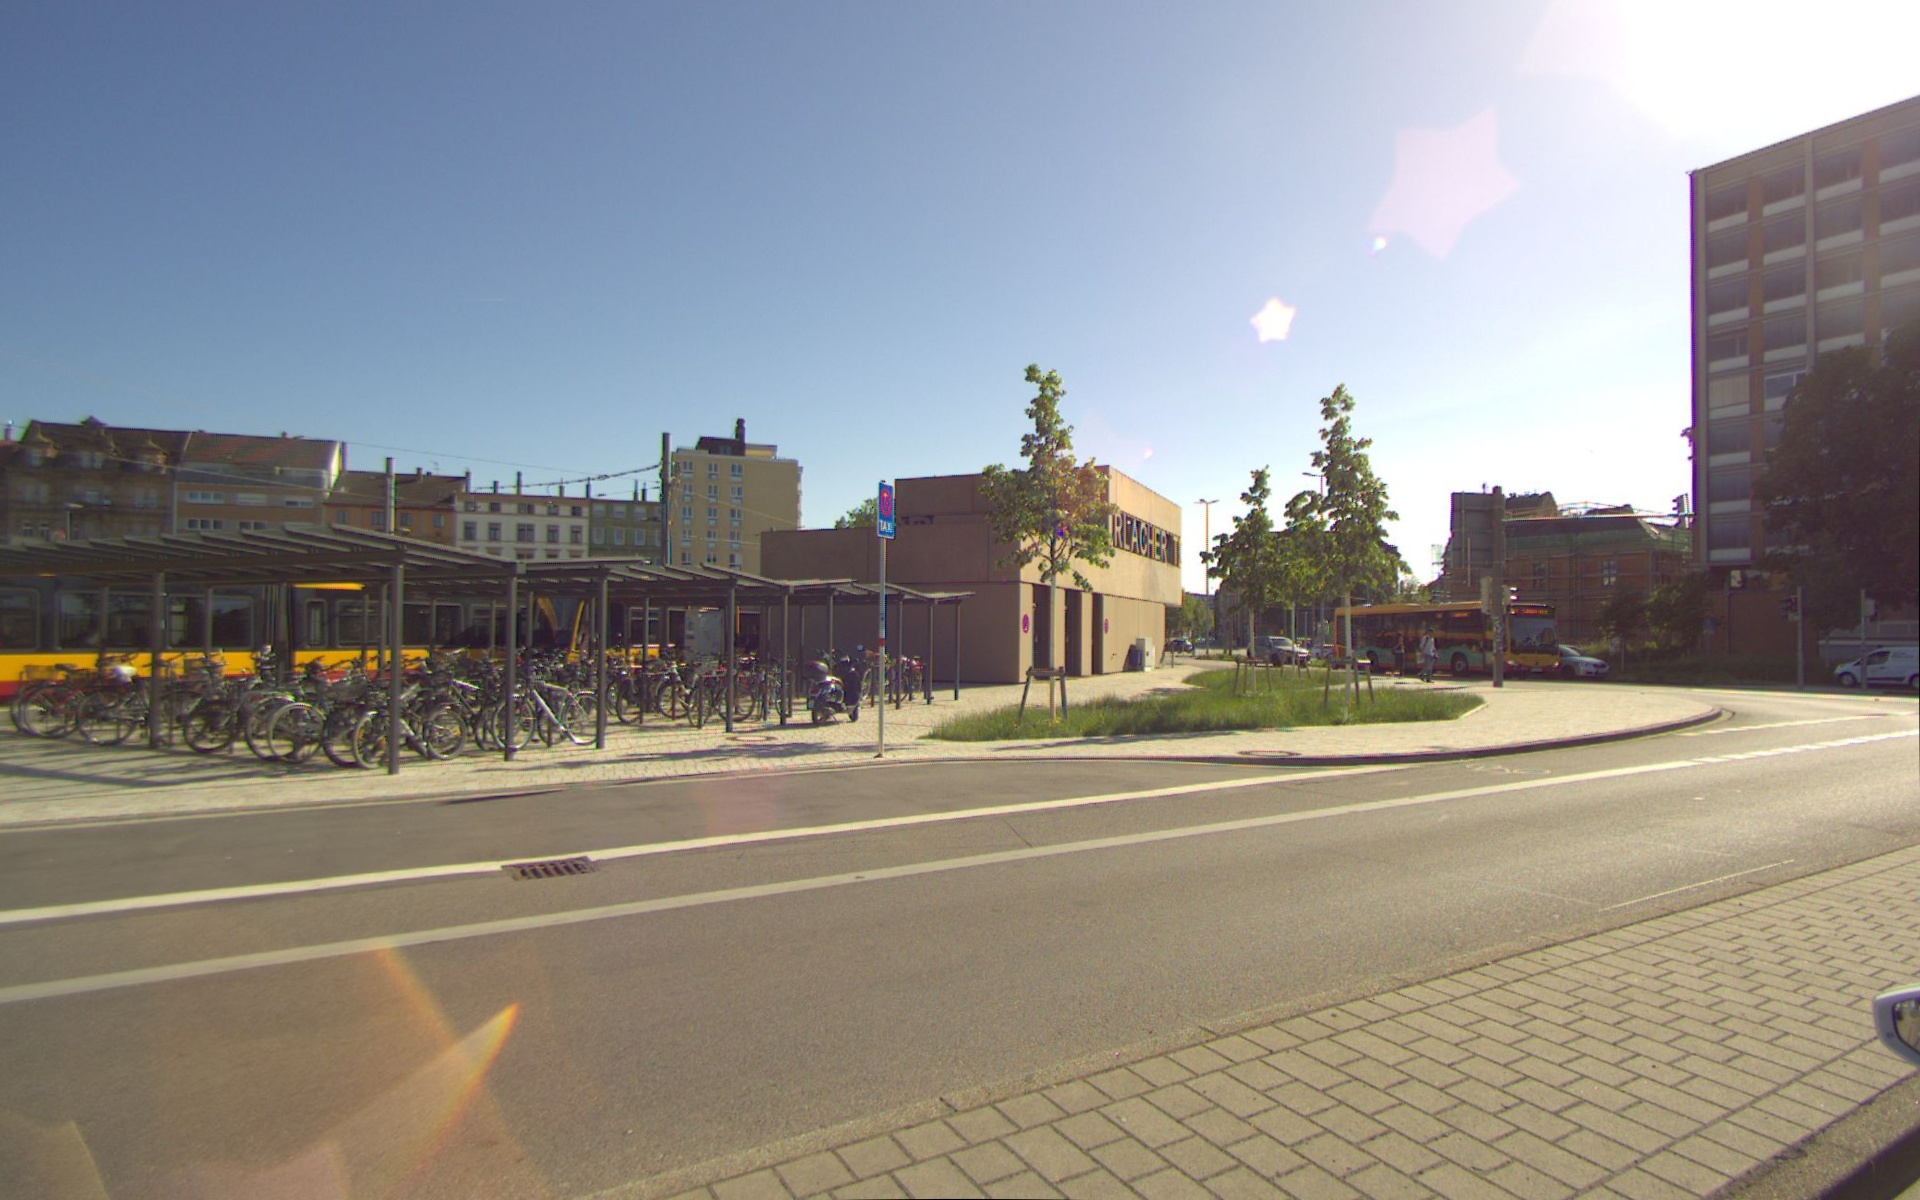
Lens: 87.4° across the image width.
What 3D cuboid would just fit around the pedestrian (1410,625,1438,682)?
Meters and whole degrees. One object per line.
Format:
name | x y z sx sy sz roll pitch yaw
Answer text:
pedestrian | 15.560 1.796 33.702 0.594 1.880 0.680 1 -1 -7

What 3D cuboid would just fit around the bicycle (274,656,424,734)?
bicycle | -8.909 1.353 14.734 0.617 1.021 1.829 0 -2 25

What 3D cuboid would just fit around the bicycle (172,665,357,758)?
bicycle | -8.699 1.360 12.652 0.617 1.021 1.829 0 -2 27

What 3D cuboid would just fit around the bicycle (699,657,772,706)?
bicycle | -5.146 1.851 23.117 0.617 1.021 1.829 0 -2 27

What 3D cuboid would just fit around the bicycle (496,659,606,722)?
bicycle | -7.359 1.602 18.185 0.616 1.021 2.004 0 -2 22

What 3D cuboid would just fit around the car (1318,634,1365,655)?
car | 29.371 3.394 77.464 1.962 1.538 3.817 1 -2 -4

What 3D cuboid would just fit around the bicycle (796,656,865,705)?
bicycle | -2.894 1.788 22.695 0.492 1.010 1.888 0 -2 30

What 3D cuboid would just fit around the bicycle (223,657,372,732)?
bicycle | -10.023 1.402 15.281 0.617 1.021 1.829 0 -2 25

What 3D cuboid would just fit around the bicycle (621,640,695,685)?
bicycle | -7.283 1.498 24.329 0.617 1.021 1.829 0 -2 27

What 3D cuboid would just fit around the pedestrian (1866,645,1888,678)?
pedestrian | 44.856 2.995 49.136 0.545 1.591 0.534 1 -1 -5

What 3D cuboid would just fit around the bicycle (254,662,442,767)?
bicycle | -7.156 1.302 11.849 0.617 1.080 1.829 0 -2 27

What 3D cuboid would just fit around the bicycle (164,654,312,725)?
bicycle | -11.377 1.381 15.901 0.617 1.021 1.829 0 -2 25

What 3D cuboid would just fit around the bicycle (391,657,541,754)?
bicycle | -6.630 1.382 13.591 0.617 1.163 1.829 0 -2 25

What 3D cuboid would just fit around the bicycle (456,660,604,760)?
bicycle | -5.587 1.389 13.178 0.617 1.173 1.829 0 -2 25

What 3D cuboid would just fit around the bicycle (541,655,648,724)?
bicycle | -6.435 1.548 17.784 0.616 1.107 1.879 0 -2 26

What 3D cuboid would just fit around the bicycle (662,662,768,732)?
bicycle | -4.129 1.614 17.079 0.677 1.055 1.891 0 -2 27

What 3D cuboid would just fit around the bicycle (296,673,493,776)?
bicycle | -6.380 1.368 11.456 0.688 1.020 1.866 0 -3 27

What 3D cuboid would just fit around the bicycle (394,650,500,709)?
bicycle | -9.781 1.495 19.221 0.617 1.021 1.830 0 -2 23

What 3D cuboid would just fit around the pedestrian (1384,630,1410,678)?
pedestrian | 15.679 1.924 36.037 0.594 1.719 0.634 1 -1 -7

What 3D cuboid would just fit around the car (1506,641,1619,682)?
car | 24.815 2.521 41.513 1.860 1.421 3.848 4 -2 -12

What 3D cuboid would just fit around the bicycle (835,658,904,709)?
bicycle | -1.942 1.791 21.834 0.617 1.021 1.829 0 -2 27

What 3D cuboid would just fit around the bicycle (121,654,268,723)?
bicycle | -12.450 1.408 16.408 0.617 1.021 1.829 0 -2 25

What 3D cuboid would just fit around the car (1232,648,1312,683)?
car | 18.144 3.785 58.562 1.975 1.885 4.719 1 -2 -21

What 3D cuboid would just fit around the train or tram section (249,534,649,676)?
train or tram section | -15.260 0.321 31.980 2.779 3.648 12.321 0 -2 24

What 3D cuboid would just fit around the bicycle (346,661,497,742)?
bicycle | -7.672 1.416 14.398 0.732 1.021 1.829 0 -2 25

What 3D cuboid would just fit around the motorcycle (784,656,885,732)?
motorcycle | -2.164 1.609 17.675 0.599 1.173 2.361 0 -2 25

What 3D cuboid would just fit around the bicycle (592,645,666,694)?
bicycle | -8.206 1.715 24.986 0.617 1.146 1.829 0 -2 27

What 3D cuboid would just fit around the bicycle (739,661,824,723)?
bicycle | -3.289 1.686 18.713 0.617 1.021 1.829 0 -2 25

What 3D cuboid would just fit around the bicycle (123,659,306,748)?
bicycle | -9.718 1.313 13.173 0.617 1.021 1.829 0 -2 27

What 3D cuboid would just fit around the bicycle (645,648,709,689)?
bicycle | -7.566 1.829 26.965 0.617 1.021 1.829 0 -2 25

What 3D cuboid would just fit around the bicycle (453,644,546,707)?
bicycle | -9.826 1.587 21.509 0.617 1.249 1.829 0 -2 25

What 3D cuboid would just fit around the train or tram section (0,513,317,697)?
train or tram section | -20.255 0.114 20.692 2.748 3.648 12.321 0 -2 24

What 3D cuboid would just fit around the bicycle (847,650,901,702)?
bicycle | -2.029 1.778 23.884 0.616 1.161 1.831 0 -2 18

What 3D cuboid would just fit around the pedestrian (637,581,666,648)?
pedestrian | -8.846 0.428 28.789 0.738 1.880 0.709 1 -1 -20

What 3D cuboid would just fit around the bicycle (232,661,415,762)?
bicycle | -7.615 1.297 12.114 0.562 1.065 1.829 0 -2 27

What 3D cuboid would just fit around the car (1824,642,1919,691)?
car | 39.022 2.736 41.829 2.176 1.905 4.176 1 -2 -12

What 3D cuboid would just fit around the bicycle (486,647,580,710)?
bicycle | -8.815 1.594 20.824 0.636 1.204 1.829 0 -2 25

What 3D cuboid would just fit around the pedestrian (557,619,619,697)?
pedestrian | -8.456 1.305 22.864 1.005 1.727 0.838 0 -2 26

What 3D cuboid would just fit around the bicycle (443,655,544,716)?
bicycle | -8.623 1.562 18.651 0.616 1.021 1.831 0 -2 18

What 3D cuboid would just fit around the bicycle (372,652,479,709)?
bicycle | -10.378 1.545 19.569 0.617 1.021 1.829 0 -2 24

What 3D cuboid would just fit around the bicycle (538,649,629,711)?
bicycle | -7.693 1.607 20.626 0.617 1.176 1.829 0 -2 25

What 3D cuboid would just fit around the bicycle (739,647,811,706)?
bicycle | -4.168 1.709 22.814 0.496 1.225 2.051 0 -2 26

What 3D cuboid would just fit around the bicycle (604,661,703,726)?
bicycle | -5.261 1.584 17.347 0.539 1.021 1.749 0 -2 28

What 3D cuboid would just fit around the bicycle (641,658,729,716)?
bicycle | -5.363 1.675 19.690 0.617 1.021 1.829 0 -2 25

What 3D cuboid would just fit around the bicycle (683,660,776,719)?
bicycle | -4.376 1.684 19.256 0.617 1.021 2.027 0 -2 25

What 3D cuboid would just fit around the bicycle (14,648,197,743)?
bicycle | -11.808 1.286 13.959 0.617 1.195 1.829 0 -2 27

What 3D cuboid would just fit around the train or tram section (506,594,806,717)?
train or tram section | -10.098 1.831 35.822 2.702 3.648 12.318 0 -2 25

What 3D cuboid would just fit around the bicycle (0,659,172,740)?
bicycle | -12.418 1.373 14.258 0.617 1.021 1.829 0 -2 27

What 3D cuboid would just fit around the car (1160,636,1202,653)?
car | 23.979 4.848 109.034 3.930 1.603 1.996 2 0 31

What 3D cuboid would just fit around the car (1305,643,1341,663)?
car | 33.500 4.856 92.846 1.960 1.603 4.001 2 0 1

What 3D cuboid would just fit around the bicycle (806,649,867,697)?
bicycle | -3.040 1.786 24.883 0.617 1.107 1.829 0 -2 25

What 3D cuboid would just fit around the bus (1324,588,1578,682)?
bus | 21.189 1.533 44.808 3.193 3.617 12.436 1 -2 -12

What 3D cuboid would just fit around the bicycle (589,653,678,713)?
bicycle | -6.534 1.641 20.180 0.617 1.094 1.829 0 -2 25

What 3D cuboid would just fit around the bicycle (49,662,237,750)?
bicycle | -10.745 1.356 13.292 0.617 1.021 1.829 0 -2 27

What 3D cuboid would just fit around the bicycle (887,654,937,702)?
bicycle | -1.107 1.812 23.592 0.616 1.021 1.832 0 -2 16
